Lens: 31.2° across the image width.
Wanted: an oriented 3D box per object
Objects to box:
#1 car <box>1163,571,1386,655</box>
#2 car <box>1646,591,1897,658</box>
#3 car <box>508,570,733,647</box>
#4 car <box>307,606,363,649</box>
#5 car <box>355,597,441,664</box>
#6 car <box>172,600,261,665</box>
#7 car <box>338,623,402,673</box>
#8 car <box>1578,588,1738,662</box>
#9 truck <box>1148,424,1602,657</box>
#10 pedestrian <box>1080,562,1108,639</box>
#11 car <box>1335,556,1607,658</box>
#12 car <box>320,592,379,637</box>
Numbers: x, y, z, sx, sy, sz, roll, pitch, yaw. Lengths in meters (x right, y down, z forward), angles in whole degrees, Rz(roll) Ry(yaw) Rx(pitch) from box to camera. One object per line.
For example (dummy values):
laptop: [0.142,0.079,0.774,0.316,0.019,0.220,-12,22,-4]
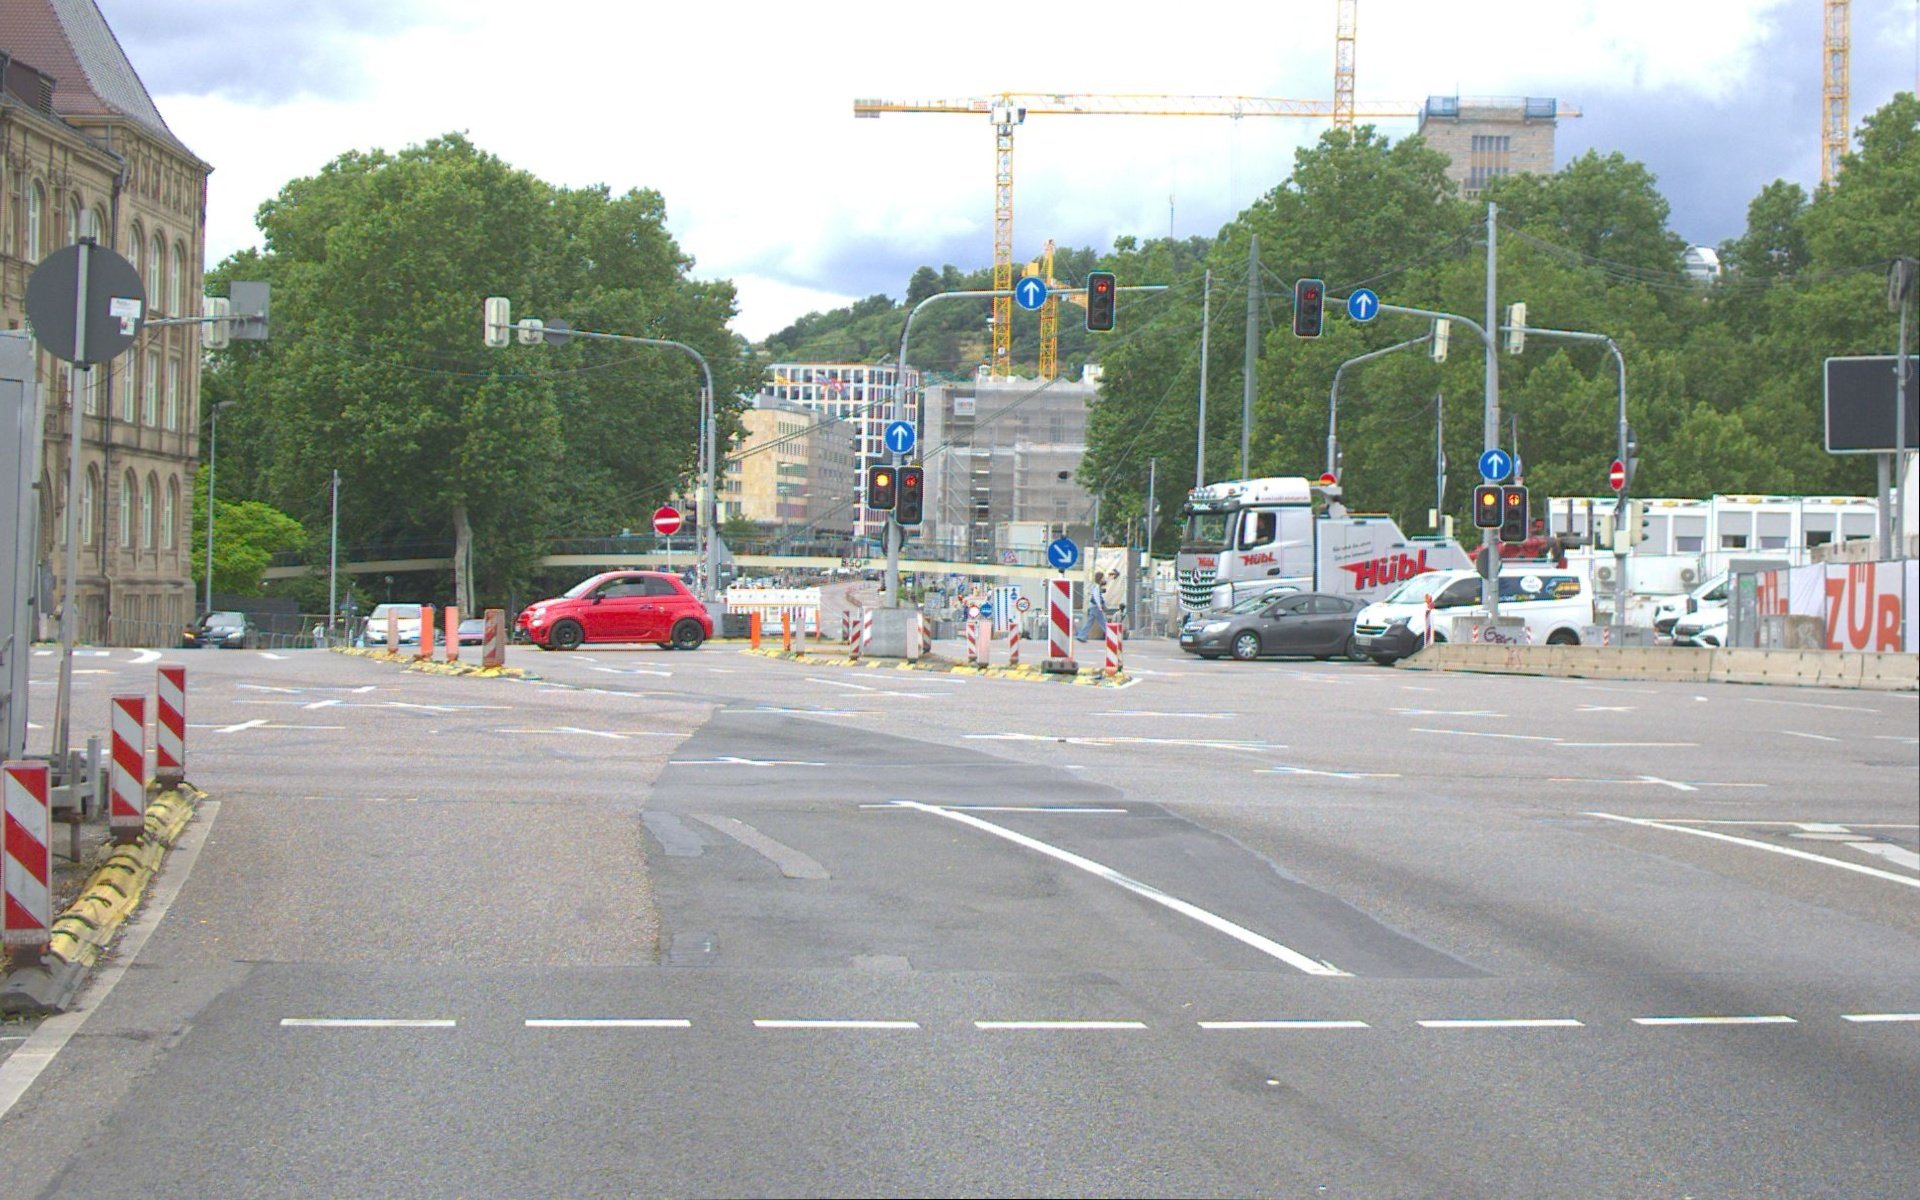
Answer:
car: [6.571,0.264,71.928,4.164,1.695,1.967,1,1,-19]
car: [18.184,0.552,77.010,5.132,1.415,2.238,1,1,-23]
car: [-6.326,0.152,64.075,3.806,1.381,1.805,1,1,-22]
car: [-28.246,1.231,155.460,1.993,1.831,4.001,1,1,-3]
car: [-16.149,0.863,98.942,1.993,1.831,4.001,1,1,-3]
car: [-22.255,0.963,103.045,1.993,1.831,4.001,1,1,-3]
car: [-22.908,1.849,133.557,1.993,1.831,4.001,1,1,-3]
car: [18.180,0.636,89.666,1.993,1.831,4.001,1,1,-28]
truck: [9.298,-1.263,76.745,9.712,4.943,3.114,1,0,-23]
pedestrian: [3.209,0.001,82.406,0.585,1.834,0.604,1,0,-4]
car: [10.448,0.148,70.240,5.129,2.007,2.078,1,1,-23]
car: [-26.025,0.606,146.598,1.993,1.831,4.001,1,1,-3]
